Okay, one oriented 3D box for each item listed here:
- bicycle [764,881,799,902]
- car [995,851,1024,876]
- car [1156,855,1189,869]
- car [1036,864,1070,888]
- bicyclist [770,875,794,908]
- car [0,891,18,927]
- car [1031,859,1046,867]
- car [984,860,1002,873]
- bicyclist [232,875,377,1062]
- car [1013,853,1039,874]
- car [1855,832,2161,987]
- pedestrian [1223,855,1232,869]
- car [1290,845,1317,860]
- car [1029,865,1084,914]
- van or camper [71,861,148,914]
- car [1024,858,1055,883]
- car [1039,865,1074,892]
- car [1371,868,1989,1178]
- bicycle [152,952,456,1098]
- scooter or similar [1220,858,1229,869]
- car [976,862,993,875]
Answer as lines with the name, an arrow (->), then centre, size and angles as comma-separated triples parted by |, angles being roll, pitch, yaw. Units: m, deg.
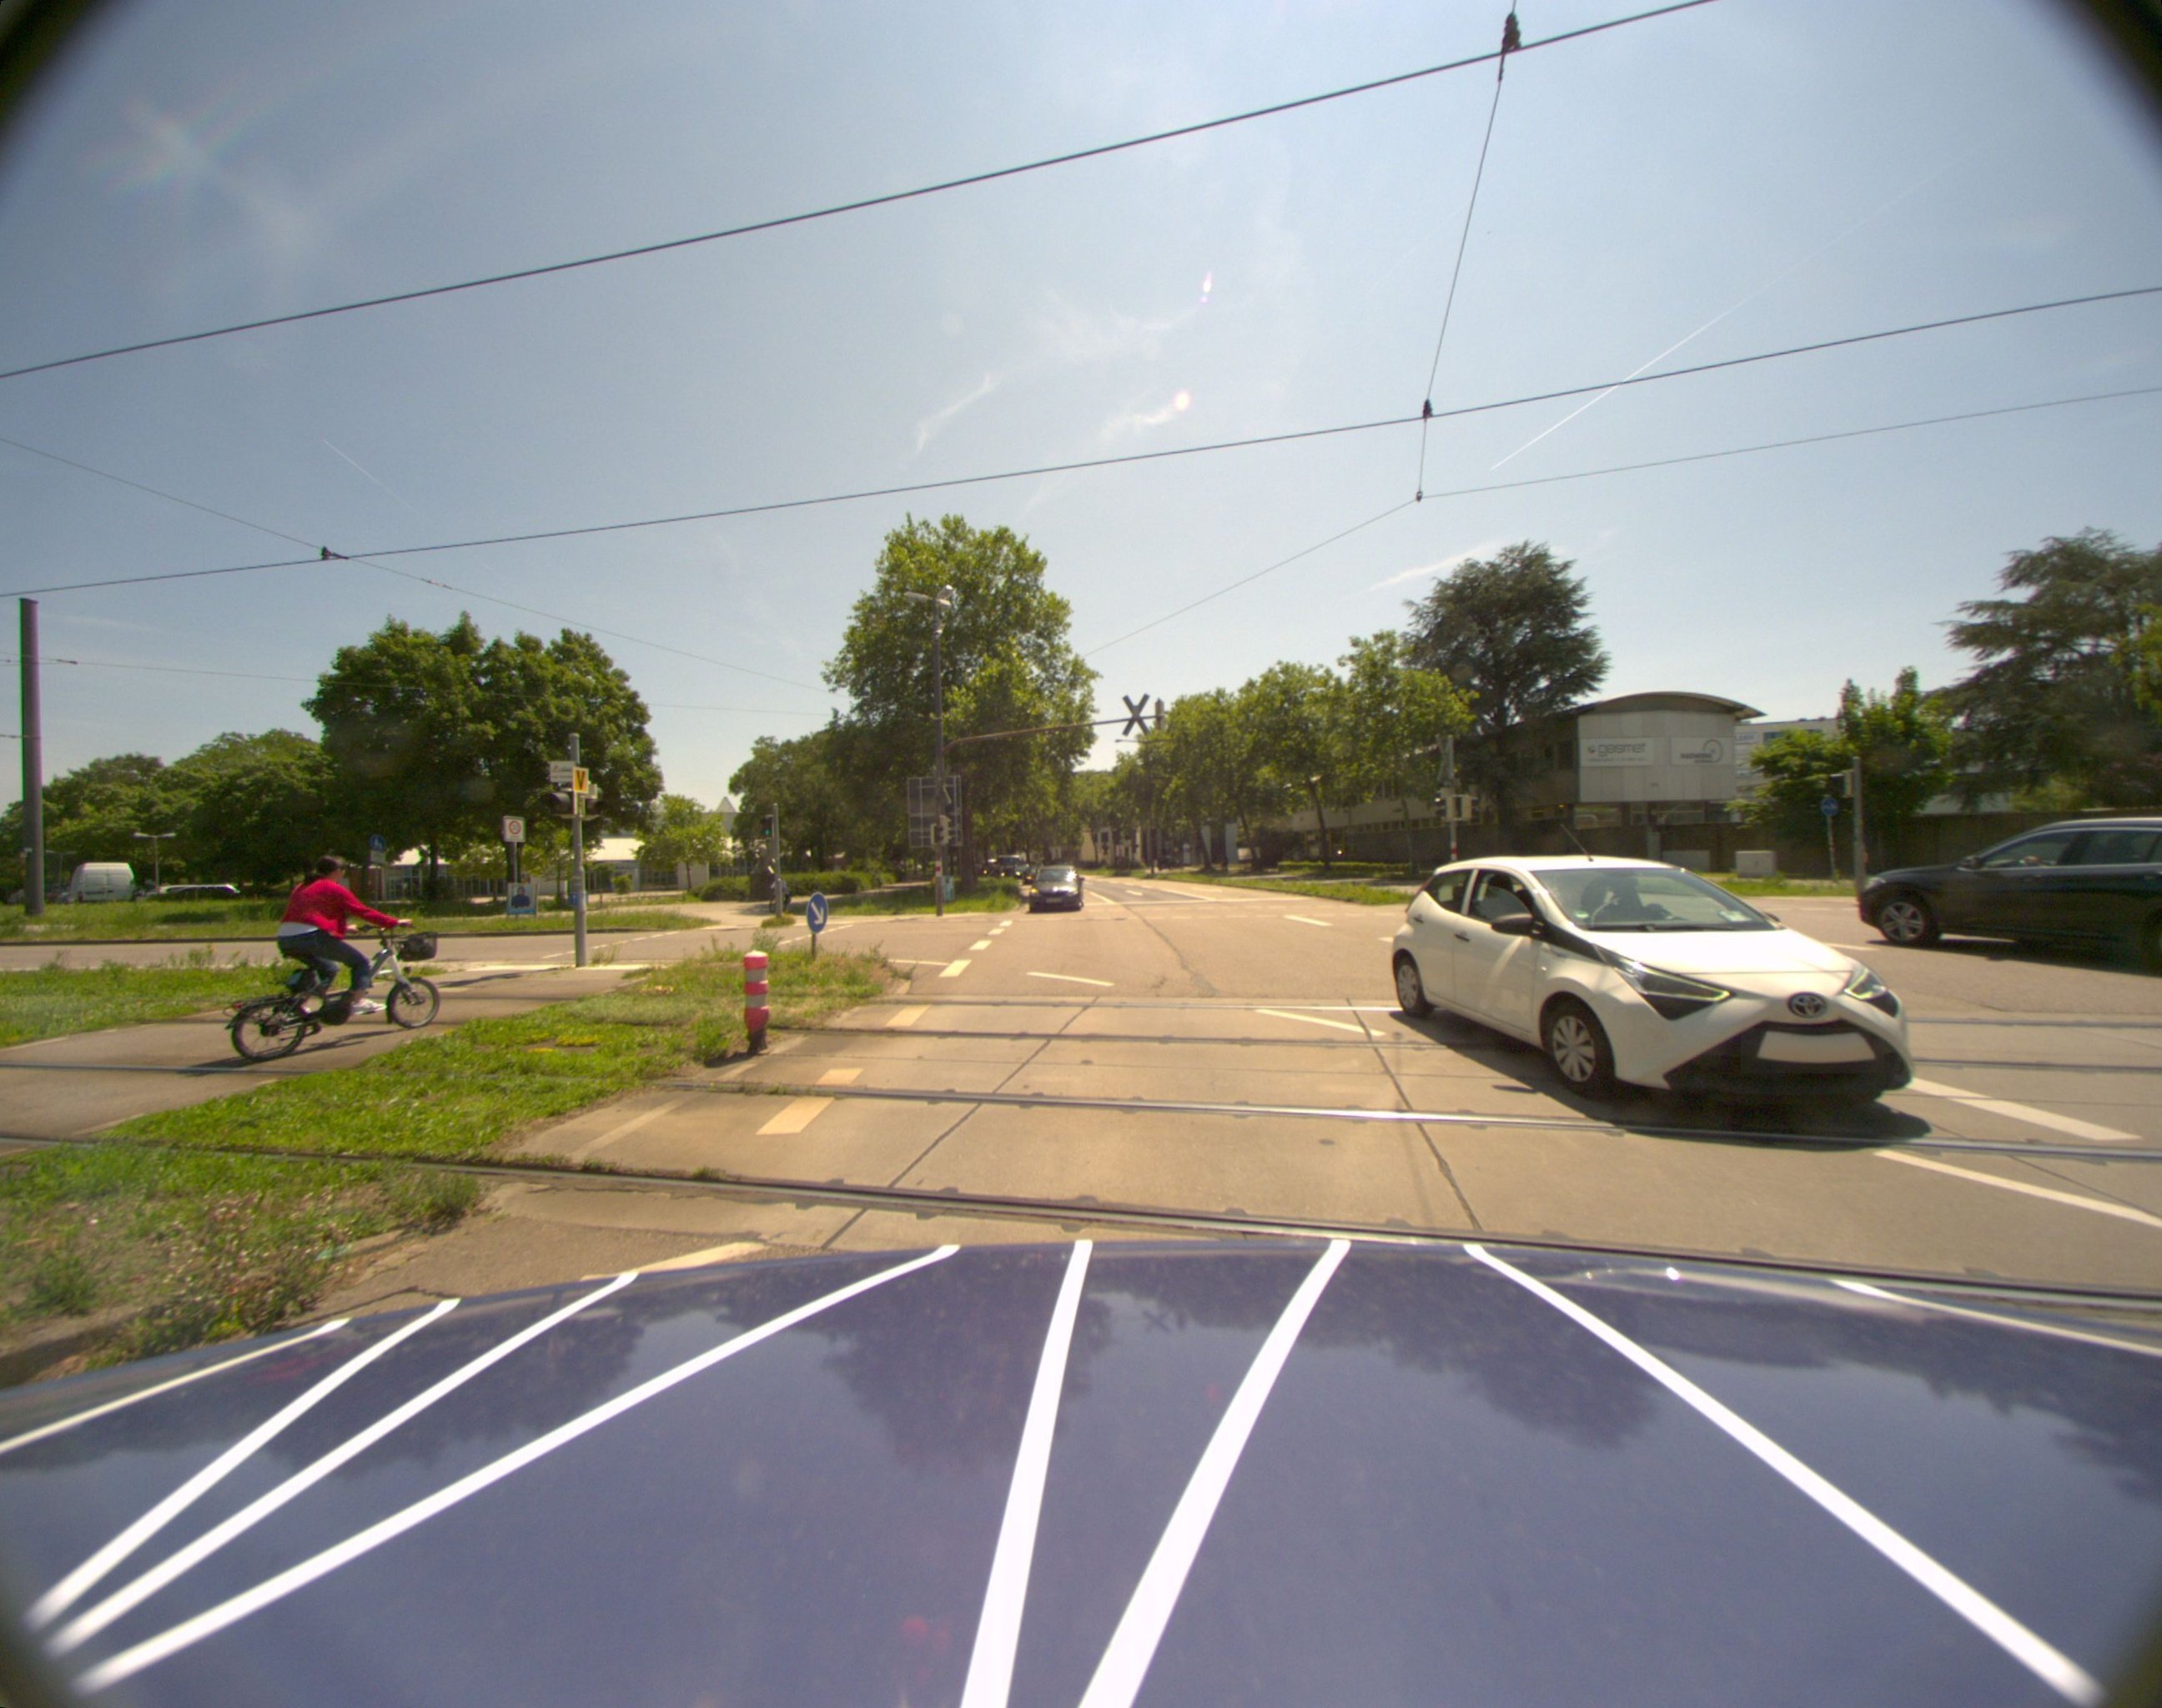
bicycle -> -12.211, 1.522, 31.024 | 0.464, 0.759, 1.670 | -2, 0, 11
car -> -8.035, 1.010, 84.806 | 2.920, 2.638, 6.362 | -2, 0, -8
car -> 11.392, 0.999, 94.641 | 1.912, 1.669, 4.453 | -1, 0, 39
car -> -1.837, 1.404, 49.332 | 1.879, 1.448, 3.784 | -1, 0, -7
bicyclist -> -12.212, 1.535, 31.066 | 0.600, 1.331, 0.667 | -2, 0, 11
car -> -54.753, 2.760, 37.790 | 4.060, 1.708, 1.960 | -2, 0, 33
car -> -7.974, 1.709, 142.968 | 1.860, 1.410, 4.541 | -1, 0, -15
car -> -11.646, 1.644, 100.707 | 2.000, 1.608, 3.996 | -1, 0, -11
bicyclist -> -6.875, 0.973, 6.748 | 0.578, 1.547, 0.674 | -1, 0, 18
car -> -5.063, 0.870, 69.991 | 2.000, 1.783, 3.997 | -2, 0, -9
car -> 11.733, 0.534, 8.433 | 1.914, 1.530, 4.298 | -2, 0, 1
pedestrian -> 15.487, 0.846, 80.154 | 0.644, 1.551, 0.790 | -2, 0, -13
car -> 25.865, -0.178, 88.376 | 1.820, 1.638, 3.526 | -3, 0, -4
car -> -0.800, 1.129, 25.385 | 1.654, 1.453, 3.865 | -2, -1, -2
van or camper -> -54.149, 1.852, 42.323 | 5.116, 2.735, 2.207 | -2, 0, 34
car -> -3.293, 1.251, 59.378 | 2.000, 1.870, 3.997 | -2, 0, -9
car -> -1.282, 1.307, 41.163 | 1.791, 1.325, 3.742 | -1, 0, -1
car -> 3.667, 0.868, 5.584 | 1.623, 1.437, 3.651 | -1, 0, -1
bicycle -> -6.835, 1.444, 6.832 | 0.587, 0.890, 1.814 | -1, 0, 19
scooter or similar -> 15.304, 1.028, 80.967 | 0.680, 1.157, 0.858 | -2, 0, -13
car -> -14.097, 2.119, 110.828 | 2.001, 1.827, 3.996 | -1, 0, -13
